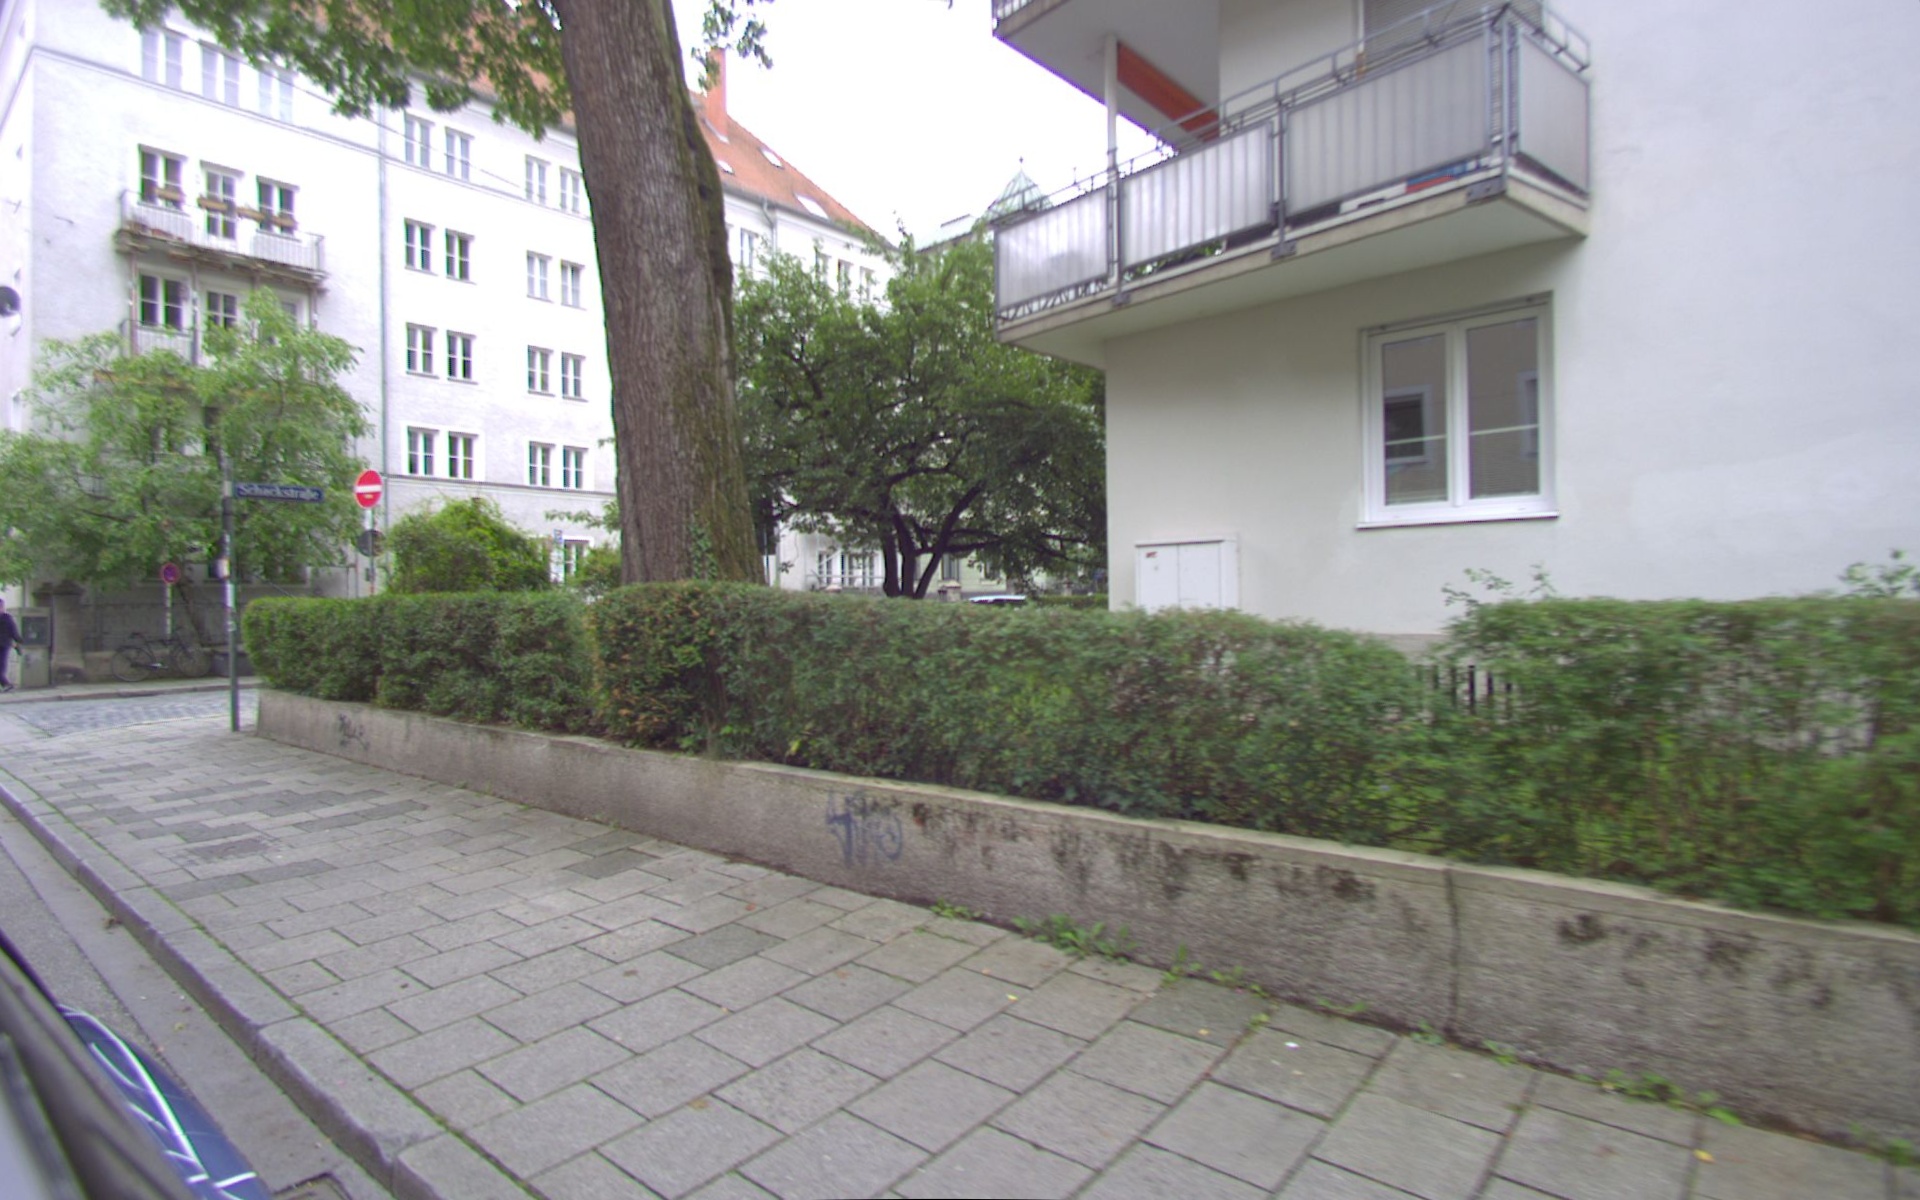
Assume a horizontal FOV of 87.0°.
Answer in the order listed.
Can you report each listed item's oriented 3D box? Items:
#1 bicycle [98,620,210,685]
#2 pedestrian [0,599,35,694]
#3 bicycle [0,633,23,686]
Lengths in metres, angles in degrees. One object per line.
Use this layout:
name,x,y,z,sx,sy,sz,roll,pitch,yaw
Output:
bicycle,-16.796,1.076,21.125,0.431,1.270,1.788,-2,-1,40
pedestrian,-18.345,0.890,19.372,0.739,1.776,0.685,-2,1,31
bicycle,-21.026,1.296,22.204,1.701,1.103,0.426,-2,1,40
